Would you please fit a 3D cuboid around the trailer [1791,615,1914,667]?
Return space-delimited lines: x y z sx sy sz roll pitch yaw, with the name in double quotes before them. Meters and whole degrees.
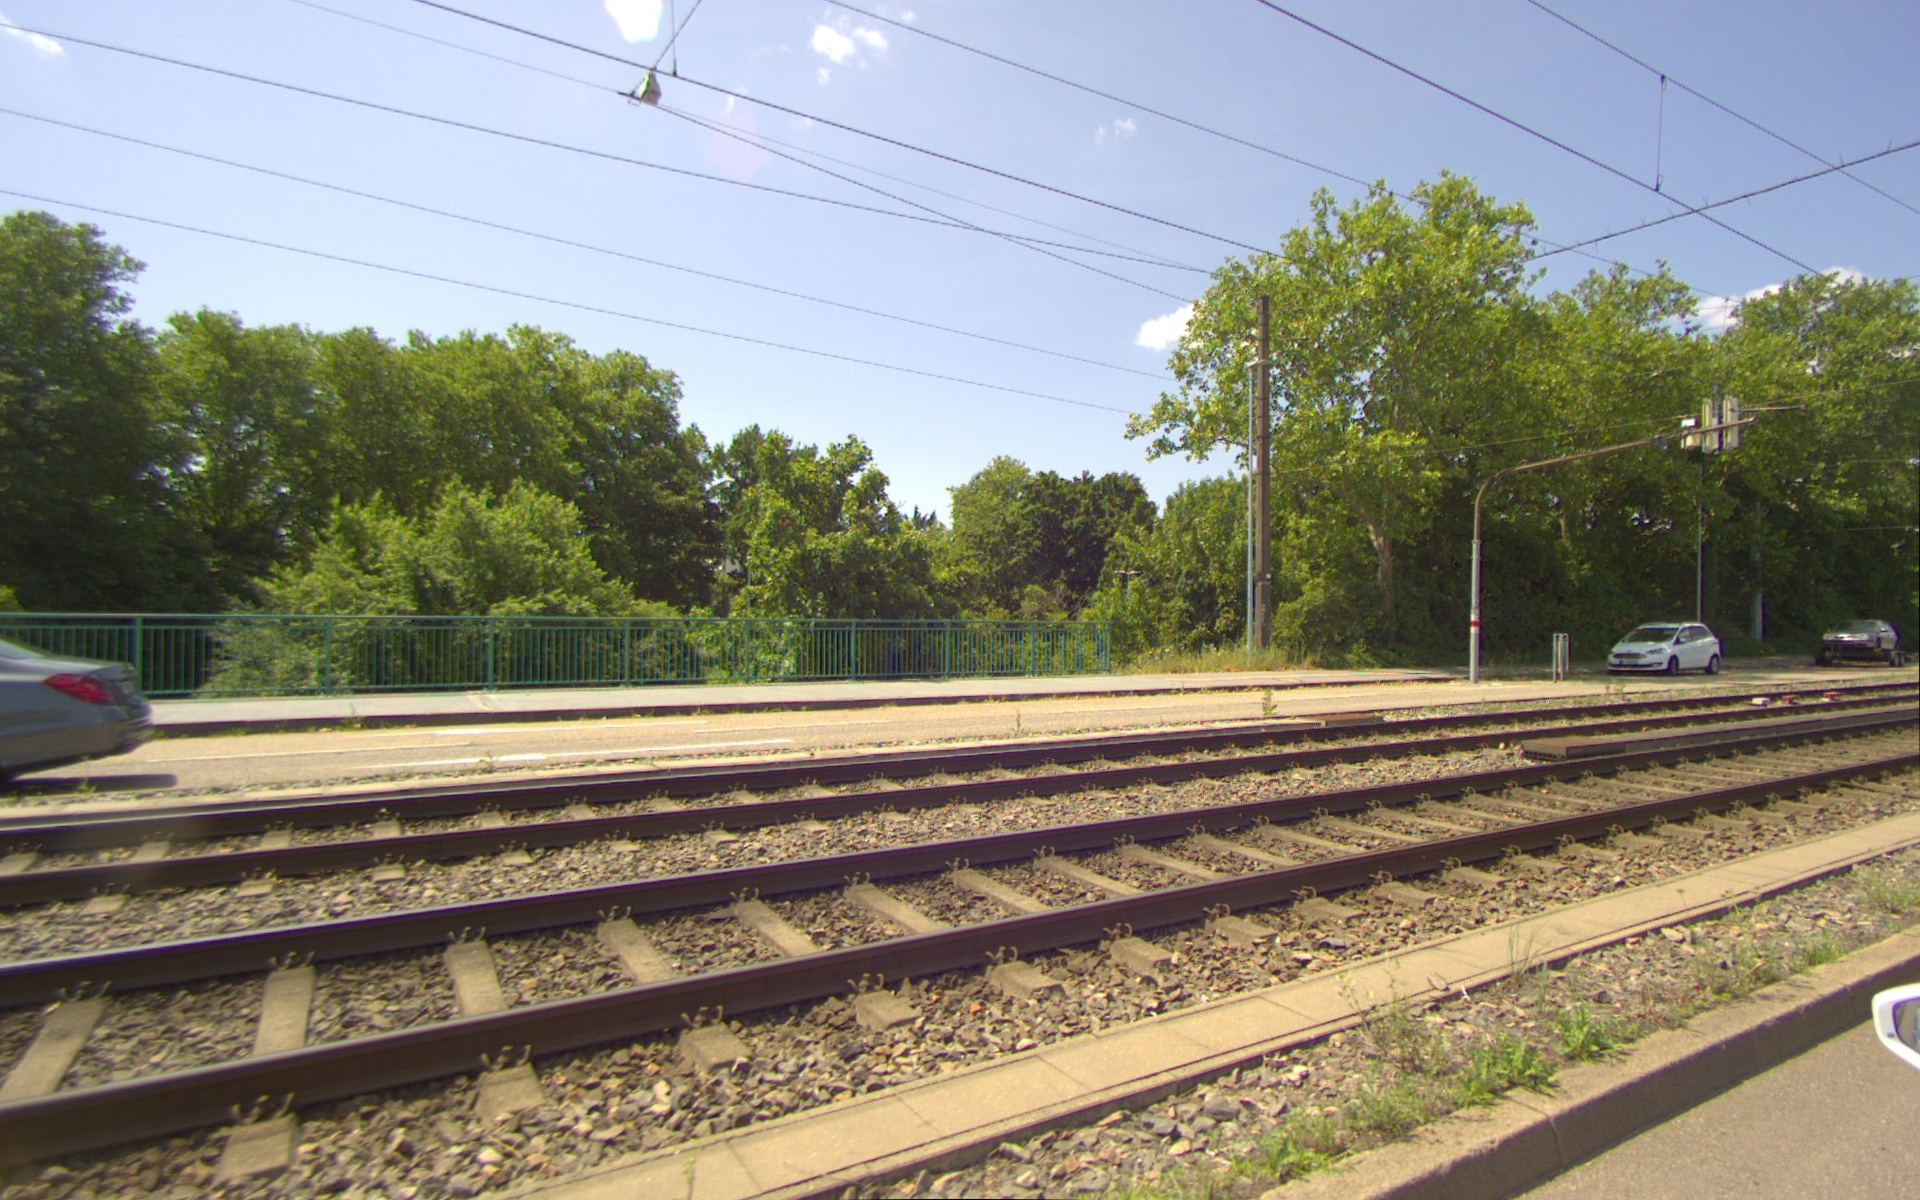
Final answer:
"trailer" 35.839 1.588 40.288 5.903 1.914 2.445 1 0 -35

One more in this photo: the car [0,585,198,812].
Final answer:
"car" -9.251 0.734 7.650 5.270 1.743 1.865 1 -1 -32

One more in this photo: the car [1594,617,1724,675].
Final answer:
"car" 22.480 1.448 32.258 4.564 1.652 1.711 -1 -3 -32
